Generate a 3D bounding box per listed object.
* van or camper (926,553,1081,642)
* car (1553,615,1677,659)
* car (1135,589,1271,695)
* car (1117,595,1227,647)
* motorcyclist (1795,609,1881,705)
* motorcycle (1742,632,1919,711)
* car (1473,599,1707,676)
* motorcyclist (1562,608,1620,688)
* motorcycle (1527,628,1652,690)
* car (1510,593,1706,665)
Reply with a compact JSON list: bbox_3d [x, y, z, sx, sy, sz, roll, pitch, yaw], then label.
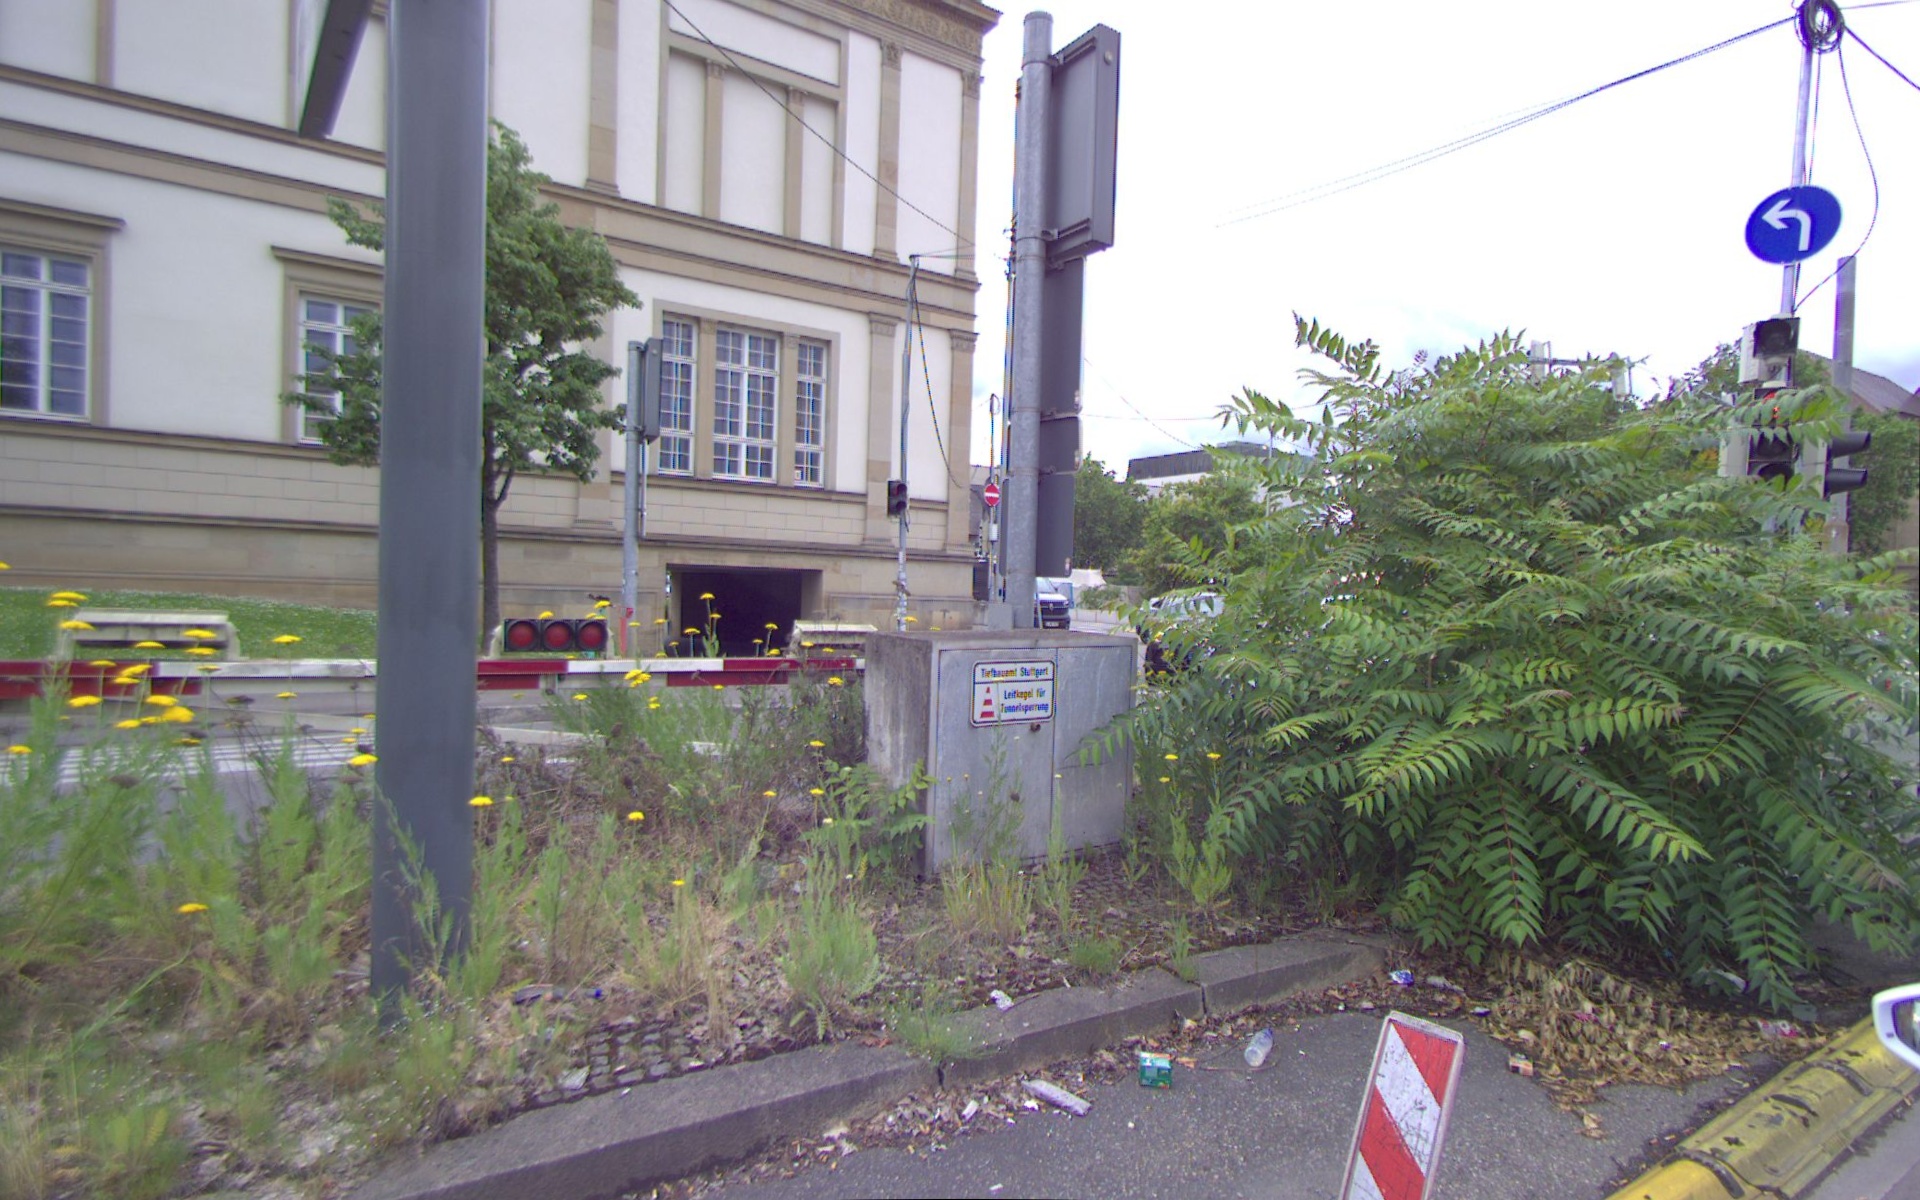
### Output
[{"bbox_3d":[1.291,-0.098,33.215,2.135,2.645,6.032,1,0,-31],"label":"van or camper"},{"bbox_3d":[34.096,1.908,52.377,5.075,2.040,2.065,1,0,44],"label":"car"},{"bbox_3d":[4.292,0.693,18.380,1.848,1.647,4.373,2,0,6],"label":"car"},{"bbox_3d":[8.046,0.756,38.444,1.889,1.763,3.964,2,1,-32],"label":"car"},{"bbox_3d":[15.176,0.971,17.372,0.807,1.592,0.875,2,0,-29],"label":"motorcyclist"},{"bbox_3d":[15.157,1.191,17.387,0.807,1.170,2.412,2,0,-29],"label":"motorcycle"},{"bbox_3d":[15.856,0.889,25.546,1.978,1.725,4.646,2,0,-31],"label":"car"},{"bbox_3d":[13.155,0.990,20.936,0.644,1.618,0.782,2,0,-29],"label":"motorcyclist"},{"bbox_3d":[13.114,1.205,20.999,0.644,1.170,2.158,2,0,-28],"label":"motorcycle"},{"bbox_3d":[18.071,0.734,28.223,1.975,1.858,4.225,-1,1,-28],"label":"car"}]
